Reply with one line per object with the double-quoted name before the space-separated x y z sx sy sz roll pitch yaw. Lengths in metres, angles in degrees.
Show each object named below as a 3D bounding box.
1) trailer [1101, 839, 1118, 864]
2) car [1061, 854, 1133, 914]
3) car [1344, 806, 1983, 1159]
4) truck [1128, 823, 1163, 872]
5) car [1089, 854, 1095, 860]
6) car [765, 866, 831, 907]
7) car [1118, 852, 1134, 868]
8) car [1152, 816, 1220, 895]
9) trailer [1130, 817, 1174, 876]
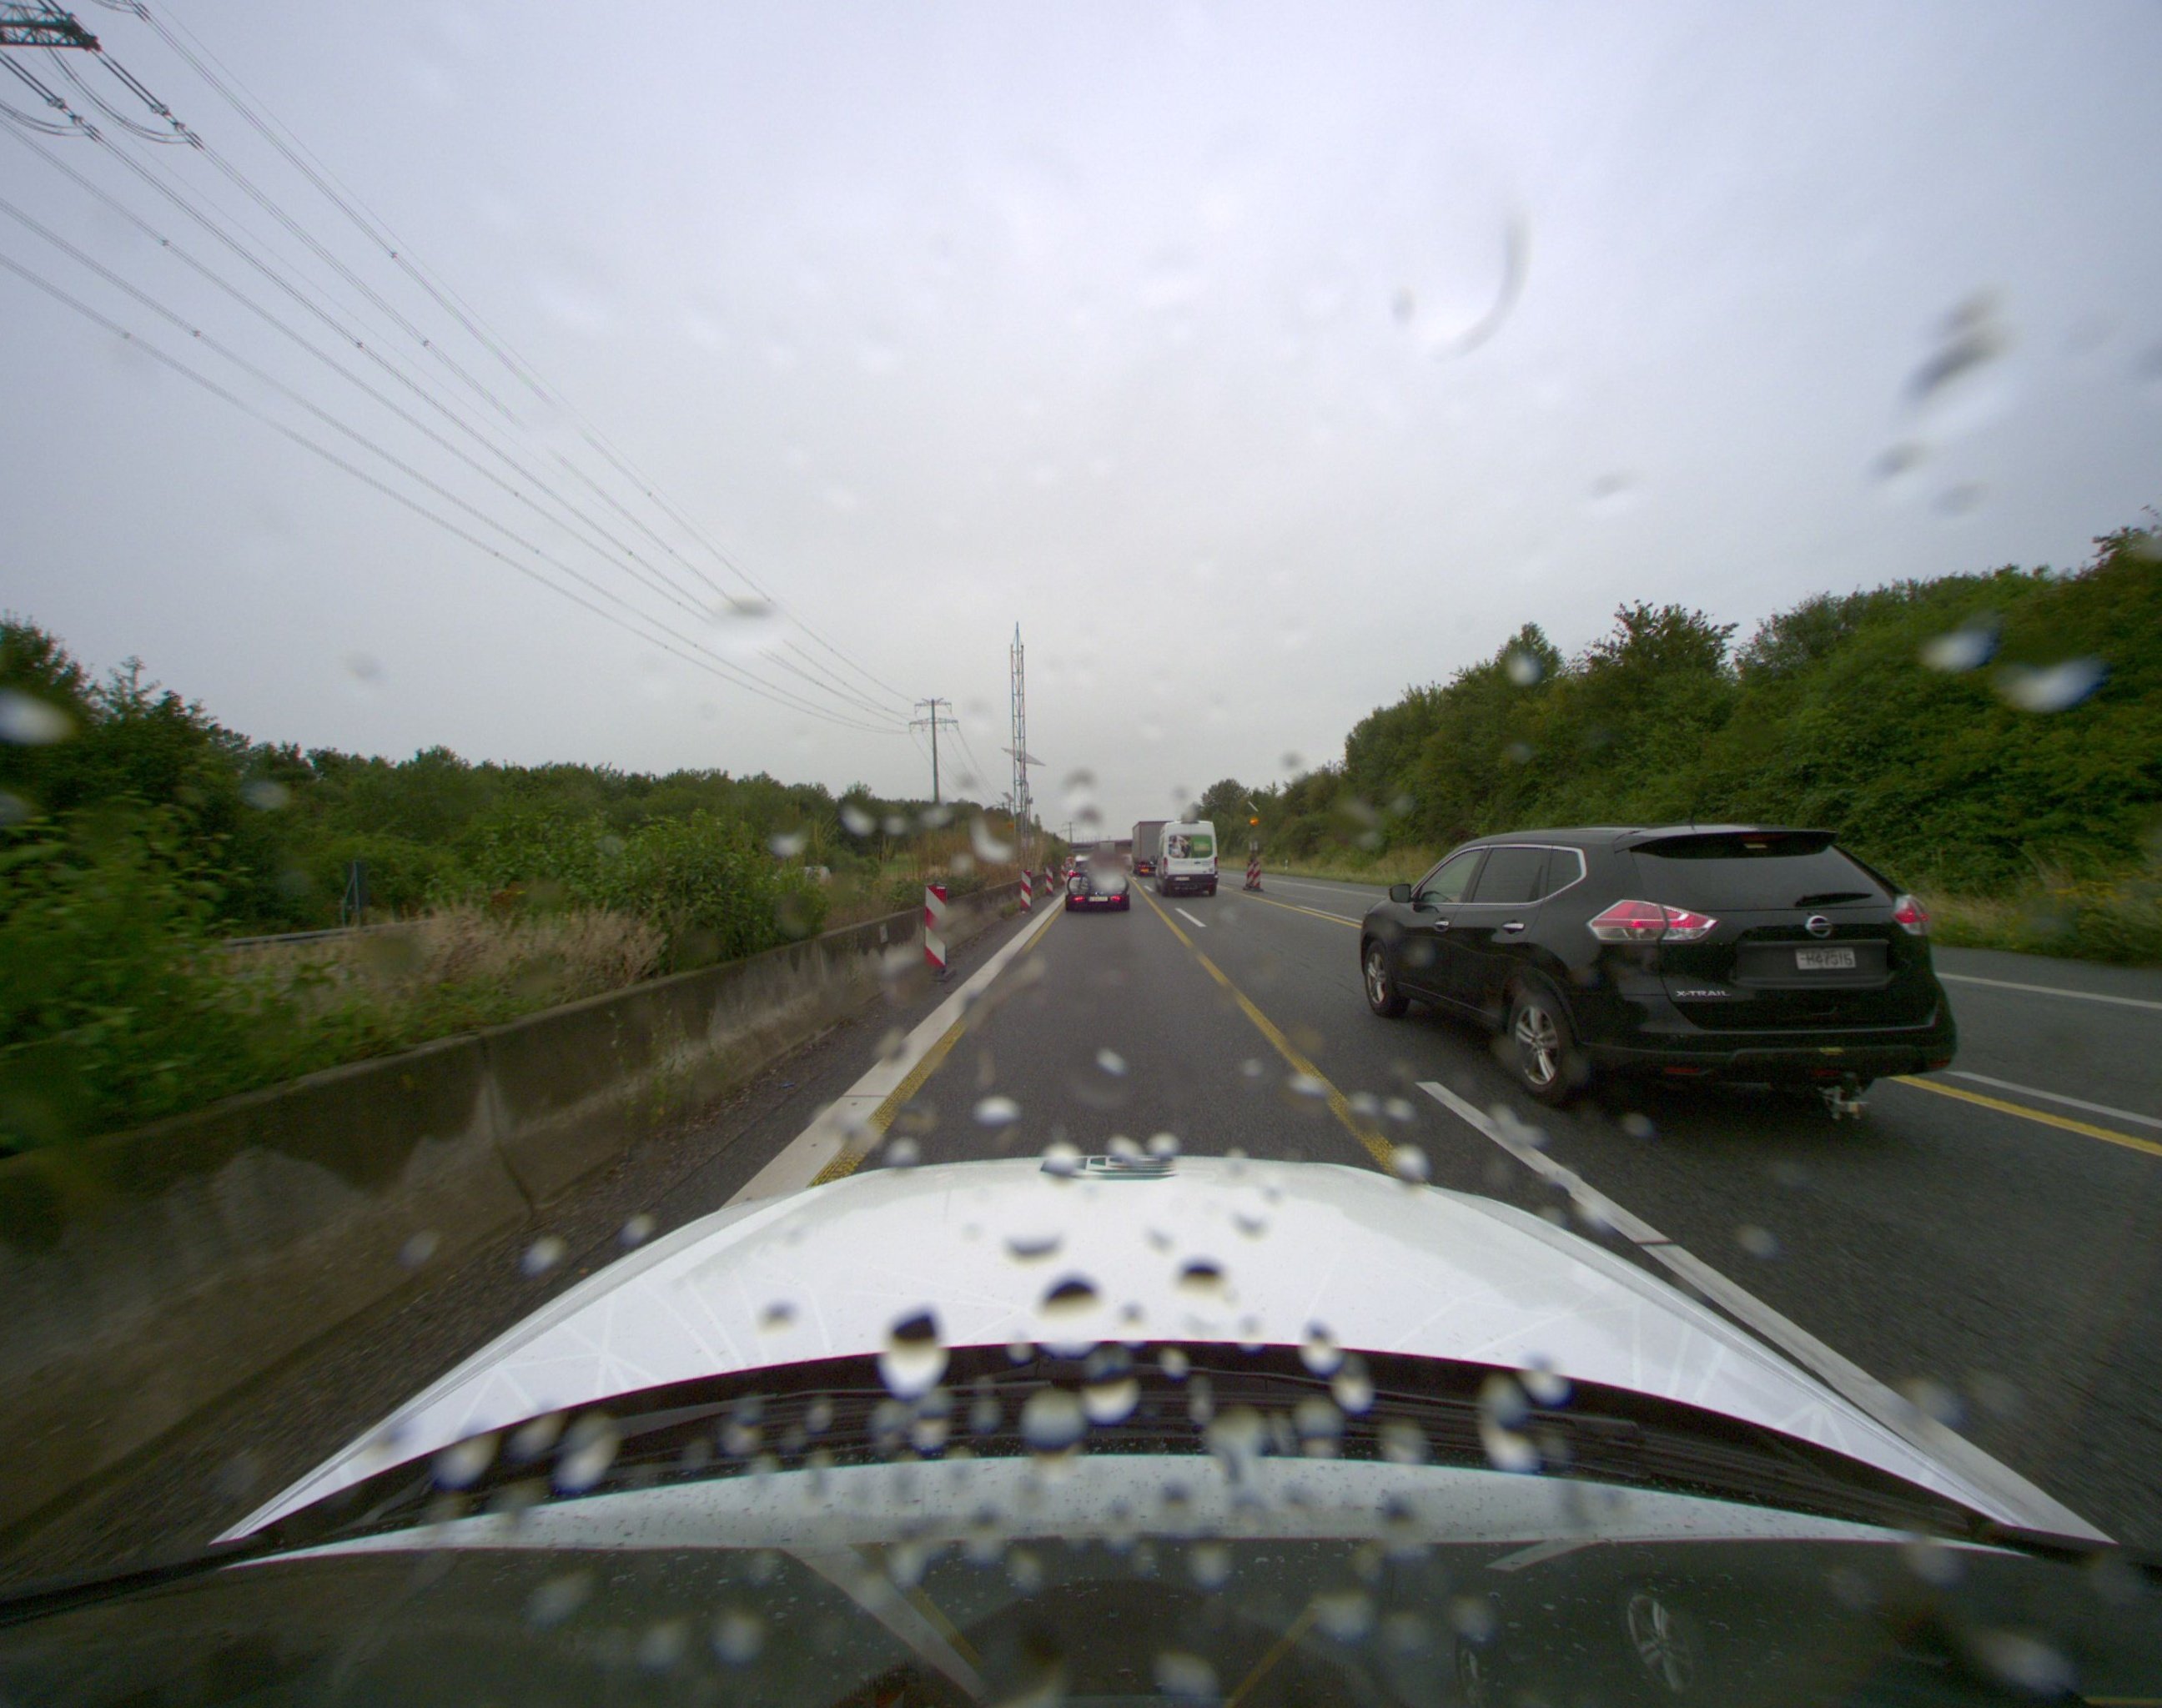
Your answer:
"trailer" 4.873 -0.349 139.757 2.683 4.076 13.636 -1 0 1
"car" 0.471 0.795 23.621 1.843 1.531 4.770 -1 0 1
"car" 3.503 0.622 6.066 1.679 1.658 4.280 -1 0 0
"truck" 5.606 -0.522 71.913 2.696 4.138 5.692 -1 0 1
"car" 3.549 0.894 261.837 1.924 1.973 4.001 -1 1 1
"car" -14.453 1.607 41.835 1.695 1.824 4.268 -4 0 1
"car" 5.621 0.743 102.362 1.822 1.839 4.656 -1 0 1
"car" 4.001 0.068 32.013 1.986 2.783 5.757 -2 0 1
"trailer" 5.436 -0.496 64.526 2.696 4.146 13.736 -1 0 2
